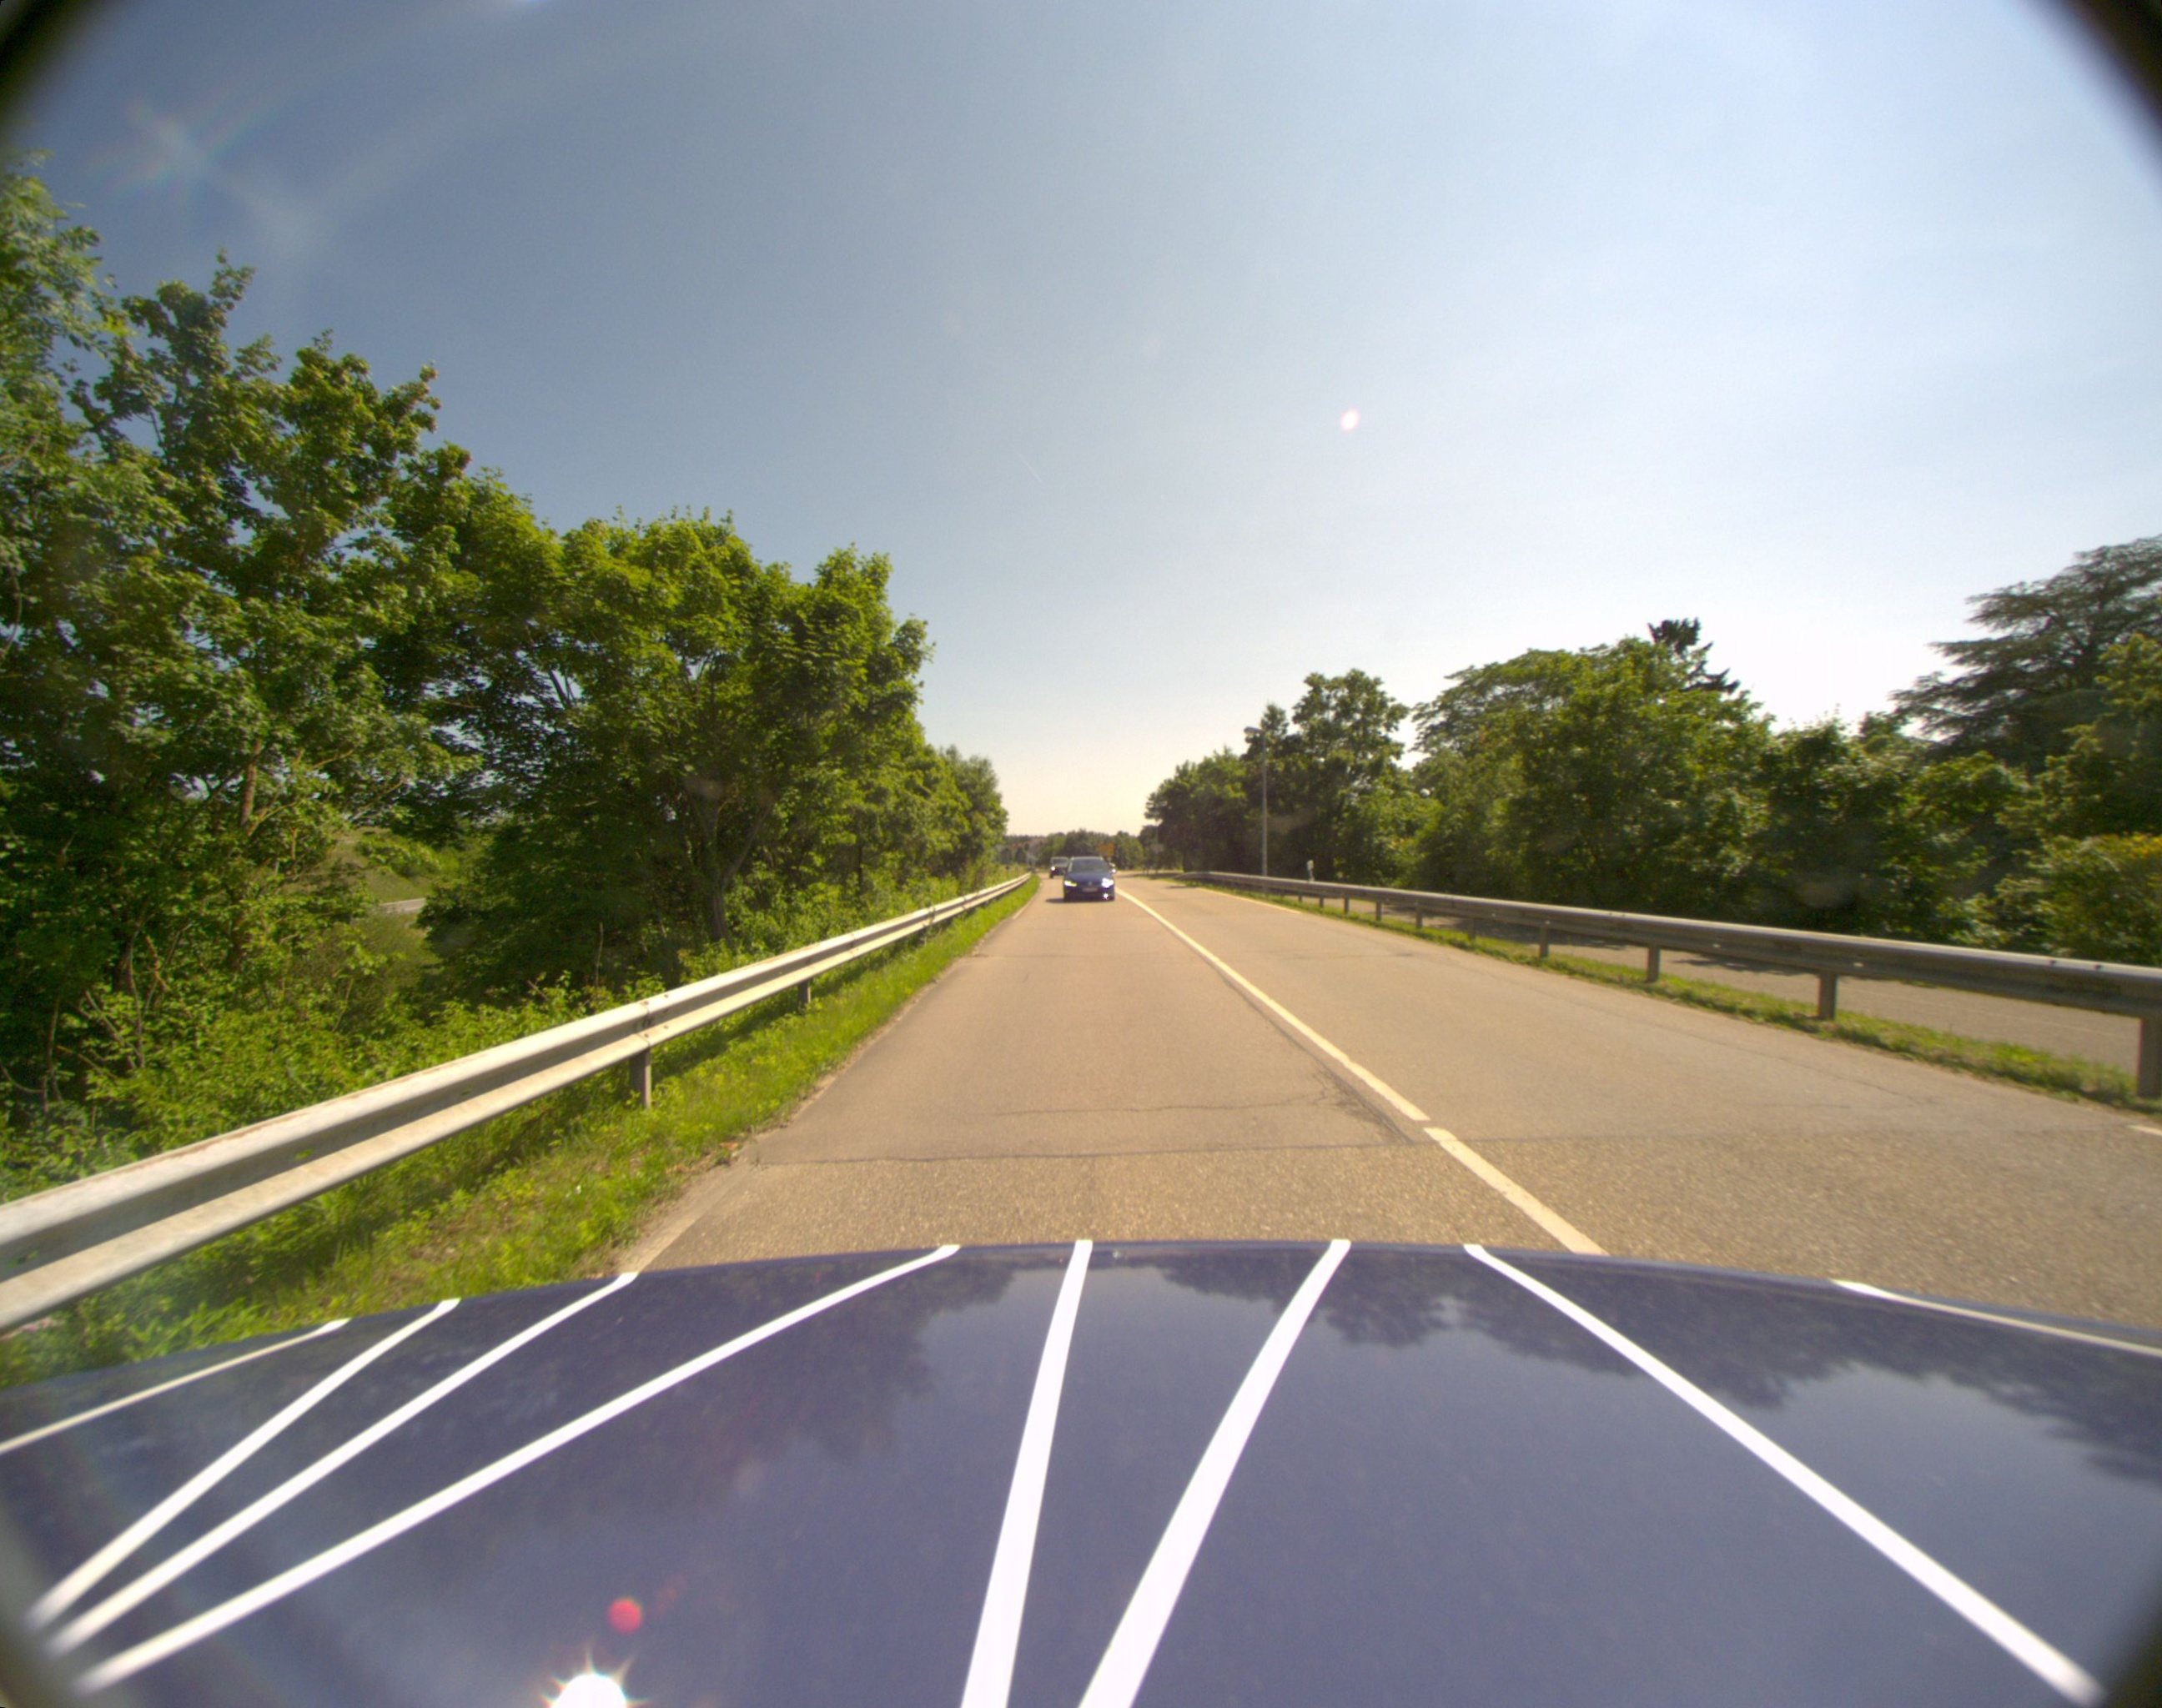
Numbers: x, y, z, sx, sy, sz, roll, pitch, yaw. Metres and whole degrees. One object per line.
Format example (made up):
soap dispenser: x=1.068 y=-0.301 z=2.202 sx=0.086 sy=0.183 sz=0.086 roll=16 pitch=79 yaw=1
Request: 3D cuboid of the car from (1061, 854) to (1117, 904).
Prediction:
car: x=0.252 y=0.835 z=27.565 sx=1.828 sy=1.591 sz=4.195 roll=-2 pitch=0 yaw=-1

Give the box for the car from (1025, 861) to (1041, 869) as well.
car: x=-9.221 y=2.098 z=145.314 sx=1.635 sy=1.396 sz=3.424 roll=0 pitch=0 yaw=-31

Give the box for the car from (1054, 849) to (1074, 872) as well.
car: x=-1.586 y=0.623 z=70.921 sx=1.779 sy=2.006 sz=4.000 roll=0 pitch=-1 yaw=-1
